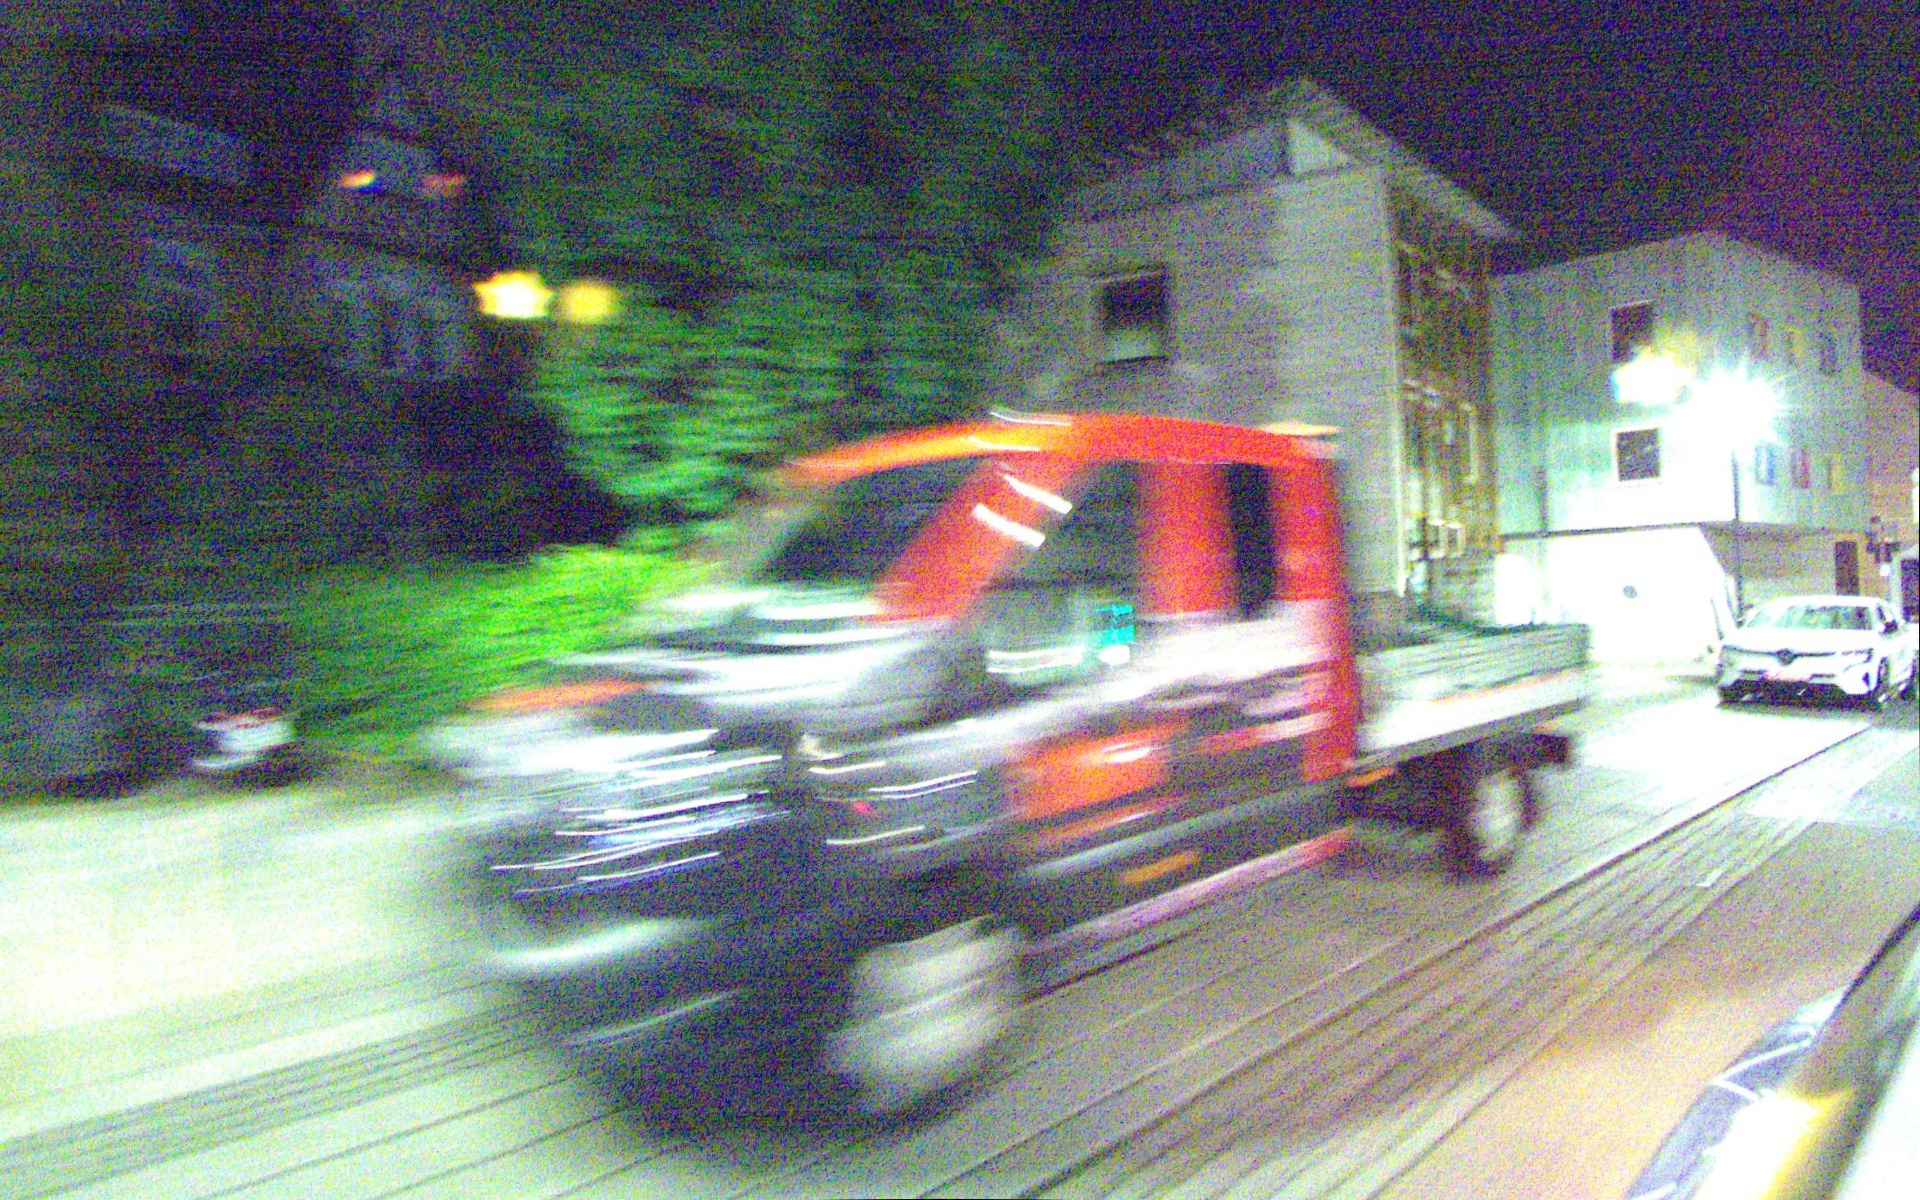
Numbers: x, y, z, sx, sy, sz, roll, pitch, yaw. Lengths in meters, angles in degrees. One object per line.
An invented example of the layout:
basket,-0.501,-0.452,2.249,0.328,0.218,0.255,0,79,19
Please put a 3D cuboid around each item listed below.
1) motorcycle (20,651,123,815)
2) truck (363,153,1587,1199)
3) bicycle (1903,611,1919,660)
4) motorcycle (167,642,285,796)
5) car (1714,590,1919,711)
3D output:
motorcycle,-7.412,1.043,8.422,0.552,1.201,1.630,0,-2,-45
truck,0.621,0.252,4.810,5.678,2.341,2.340,0,-1,-40
bicycle,21.598,0.777,21.857,0.340,1.076,1.757,0,-1,-41
motorcycle,-6.567,0.994,9.017,0.552,1.201,2.017,0,-2,-45
car,12.566,0.621,14.578,3.985,1.510,1.793,0,0,-39
